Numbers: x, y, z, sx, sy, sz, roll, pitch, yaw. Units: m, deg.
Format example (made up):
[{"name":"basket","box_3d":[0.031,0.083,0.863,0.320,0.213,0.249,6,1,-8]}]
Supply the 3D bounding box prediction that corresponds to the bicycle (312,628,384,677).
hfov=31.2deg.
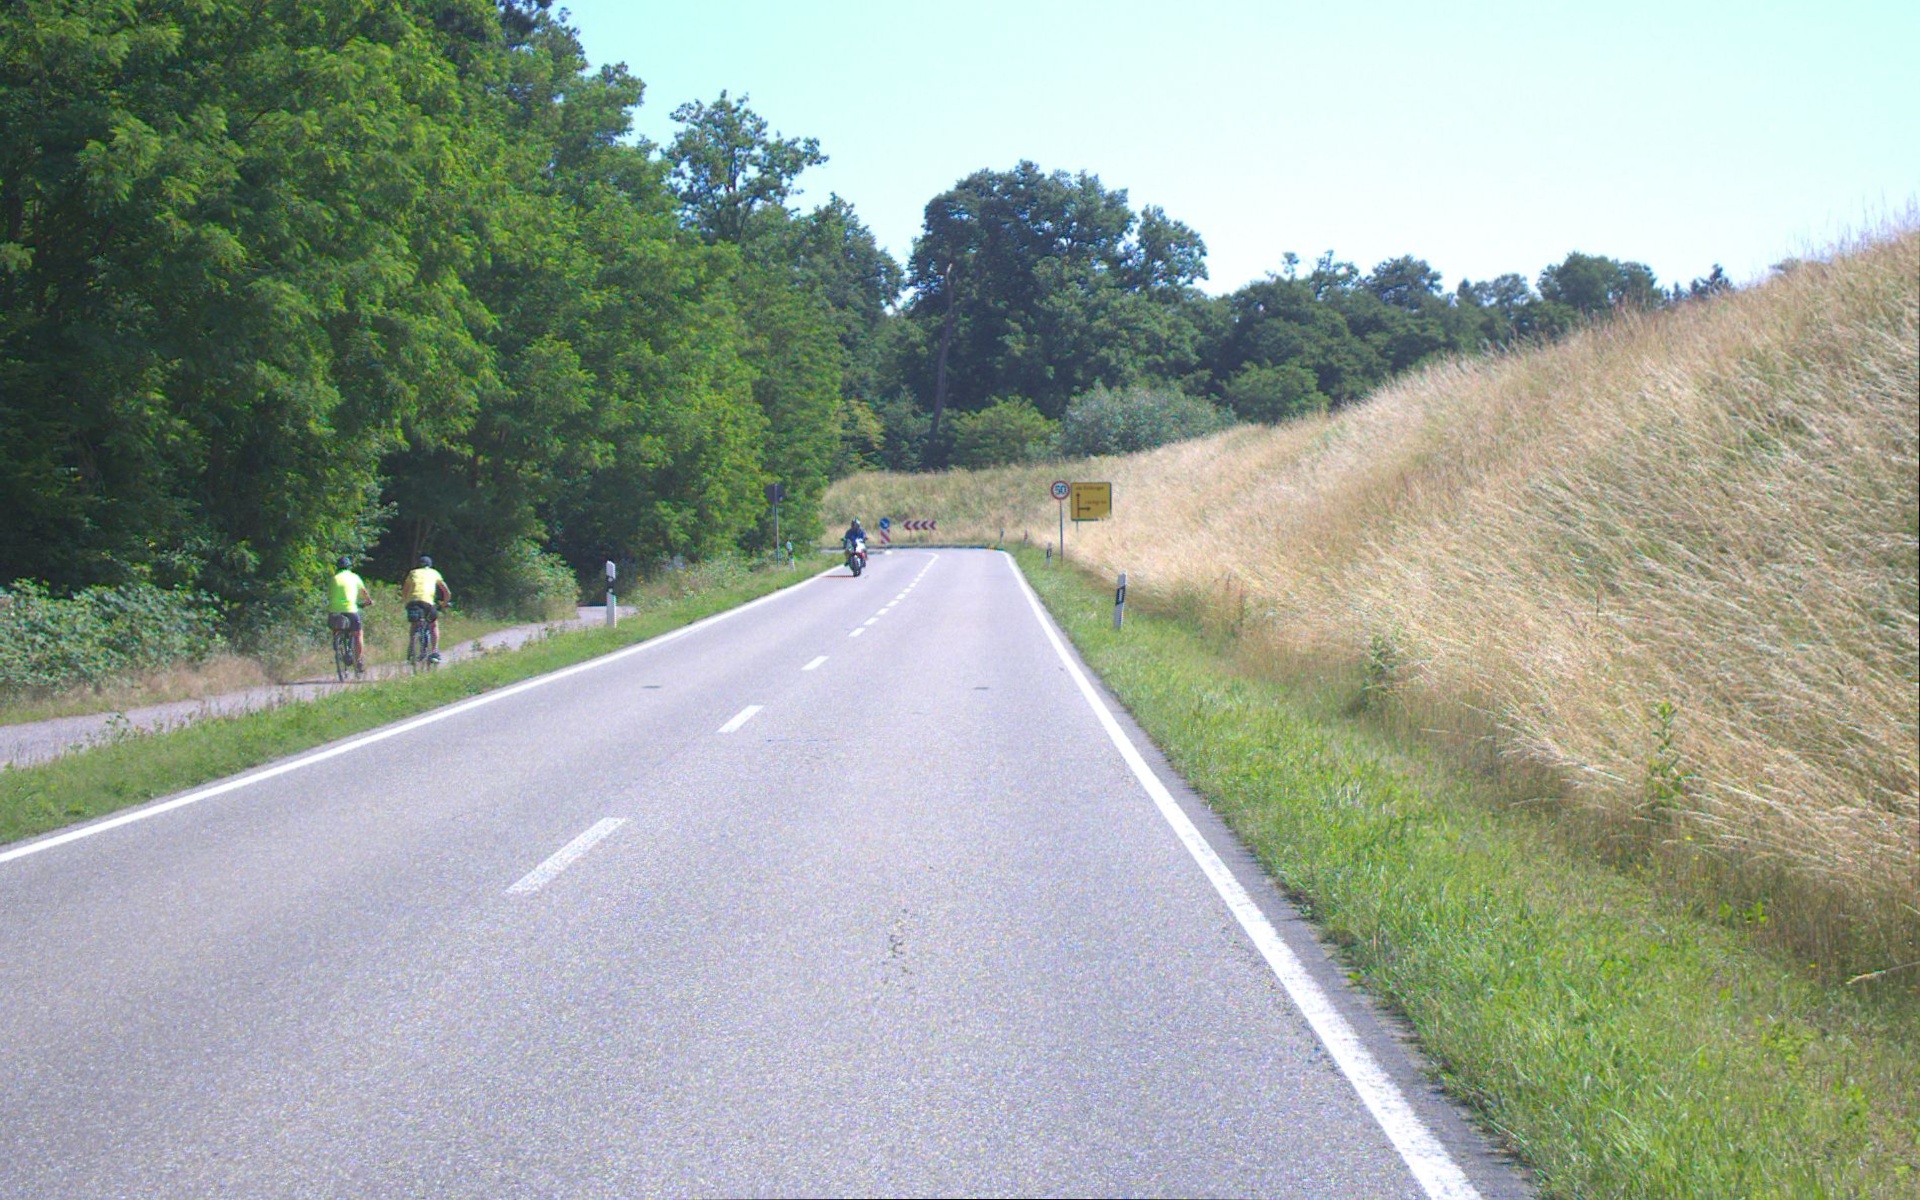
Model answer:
[{"name":"bicycle","box_3d":[-8.706,0.741,48.953,0.619,0.679,2.137,1,-1,0]}]

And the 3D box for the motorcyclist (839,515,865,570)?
[{"name":"motorcyclist","box_3d":[-3.060,-1.626,97.629,0.659,1.523,0.814,-3,0,-1]}]

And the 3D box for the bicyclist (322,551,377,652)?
[{"name":"bicyclist","box_3d":[-8.683,0.028,48.915,0.605,1.411,0.702,1,-1,0]}]

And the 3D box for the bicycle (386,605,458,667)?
[{"name":"bicycle","box_3d":[-7.588,0.502,48.574,0.640,0.785,2.137,-2,1,0]}]

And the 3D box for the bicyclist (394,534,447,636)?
[{"name":"bicyclist","box_3d":[-7.615,-0.219,48.569,0.605,1.410,0.703,-1,2,0]}]

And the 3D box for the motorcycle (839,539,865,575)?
[{"name":"motorcycle","box_3d":[-3.060,-1.229,97.597,0.639,0.981,2.006,-2,1,0]}]
